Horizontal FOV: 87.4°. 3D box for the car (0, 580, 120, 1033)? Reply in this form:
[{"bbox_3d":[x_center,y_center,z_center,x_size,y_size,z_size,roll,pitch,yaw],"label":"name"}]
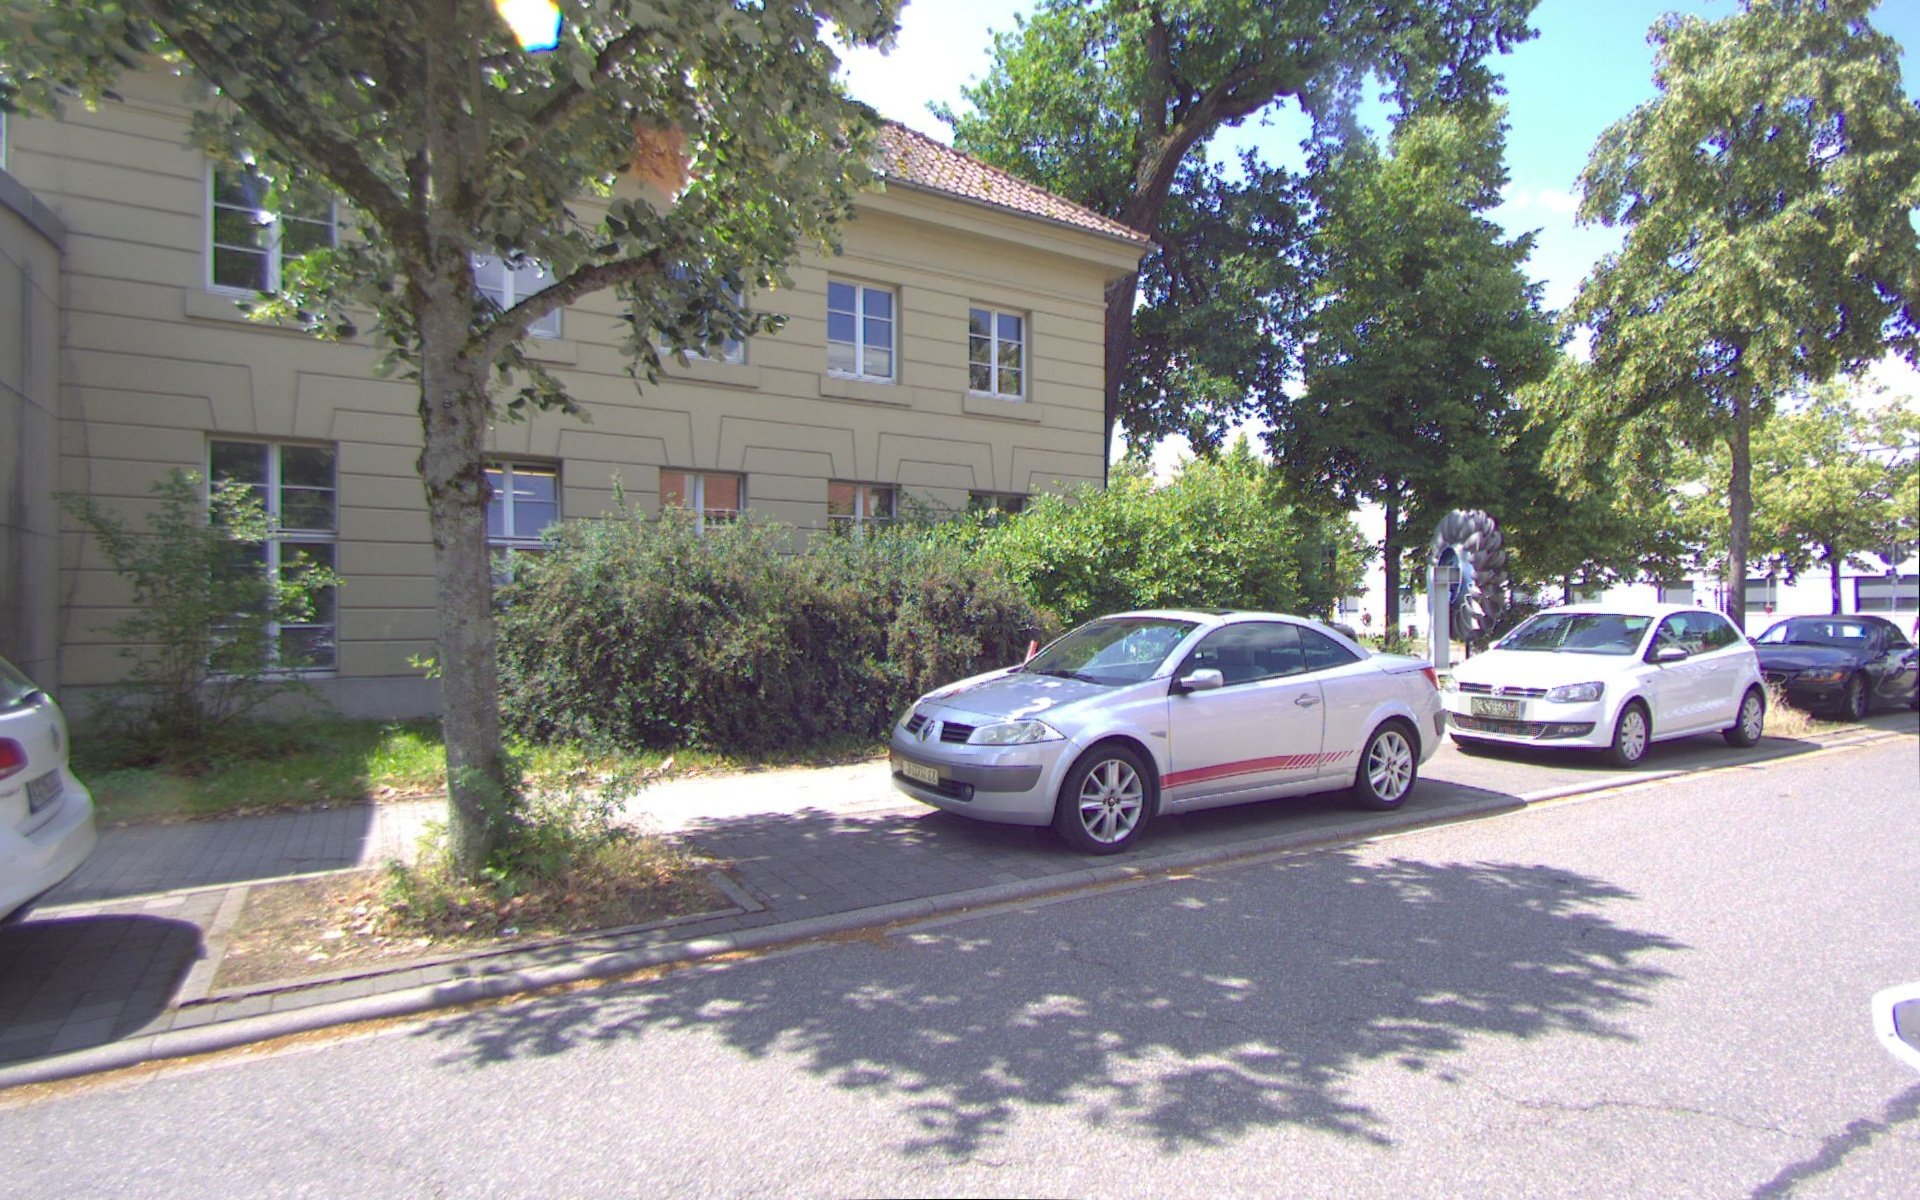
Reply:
[{"bbox_3d":[-5.413,0.645,2.779,4.534,1.476,1.715,0,1,-33],"label":"car"}]

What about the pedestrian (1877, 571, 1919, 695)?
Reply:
[{"bbox_3d":[15.499,0.511,15.969,0.998,1.928,1.178,-1,-1,23],"label":"pedestrian"}]

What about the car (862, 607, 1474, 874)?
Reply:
[{"bbox_3d":[1.536,0.748,7.041,4.115,1.362,1.717,0,1,-30],"label":"car"}]

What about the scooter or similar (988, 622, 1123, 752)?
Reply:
[{"bbox_3d":[0.907,0.808,9.601,1.206,1.187,0.471,0,-1,-11],"label":"scooter or similar"}]

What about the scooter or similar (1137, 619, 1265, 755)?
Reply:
[{"bbox_3d":[2.507,0.876,10.424,1.215,1.304,0.522,-1,-3,-31],"label":"scooter or similar"}]

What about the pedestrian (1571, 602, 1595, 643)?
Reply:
[{"bbox_3d":[27.321,0.972,44.018,0.629,1.772,0.690,0,0,-30],"label":"pedestrian"}]

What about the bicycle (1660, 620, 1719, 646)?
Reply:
[{"bbox_3d":[29.920,1.335,41.240,0.795,1.015,2.122,1,-1,-4],"label":"bicycle"}]

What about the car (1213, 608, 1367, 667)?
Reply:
[{"bbox_3d":[9.846,1.095,29.883,4.391,1.536,1.918,-1,-4,-32],"label":"car"}]

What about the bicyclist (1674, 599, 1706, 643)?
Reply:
[{"bbox_3d":[29.910,0.875,41.183,0.795,1.779,0.692,1,0,-5],"label":"bicyclist"}]

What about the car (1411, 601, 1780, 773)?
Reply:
[{"bbox_3d":[6.424,0.729,10.075,3.764,1.430,1.653,0,0,-32],"label":"car"}]

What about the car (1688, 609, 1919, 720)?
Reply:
[{"bbox_3d":[11.821,0.802,13.692,3.881,1.318,1.637,0,-1,-30],"label":"car"}]
